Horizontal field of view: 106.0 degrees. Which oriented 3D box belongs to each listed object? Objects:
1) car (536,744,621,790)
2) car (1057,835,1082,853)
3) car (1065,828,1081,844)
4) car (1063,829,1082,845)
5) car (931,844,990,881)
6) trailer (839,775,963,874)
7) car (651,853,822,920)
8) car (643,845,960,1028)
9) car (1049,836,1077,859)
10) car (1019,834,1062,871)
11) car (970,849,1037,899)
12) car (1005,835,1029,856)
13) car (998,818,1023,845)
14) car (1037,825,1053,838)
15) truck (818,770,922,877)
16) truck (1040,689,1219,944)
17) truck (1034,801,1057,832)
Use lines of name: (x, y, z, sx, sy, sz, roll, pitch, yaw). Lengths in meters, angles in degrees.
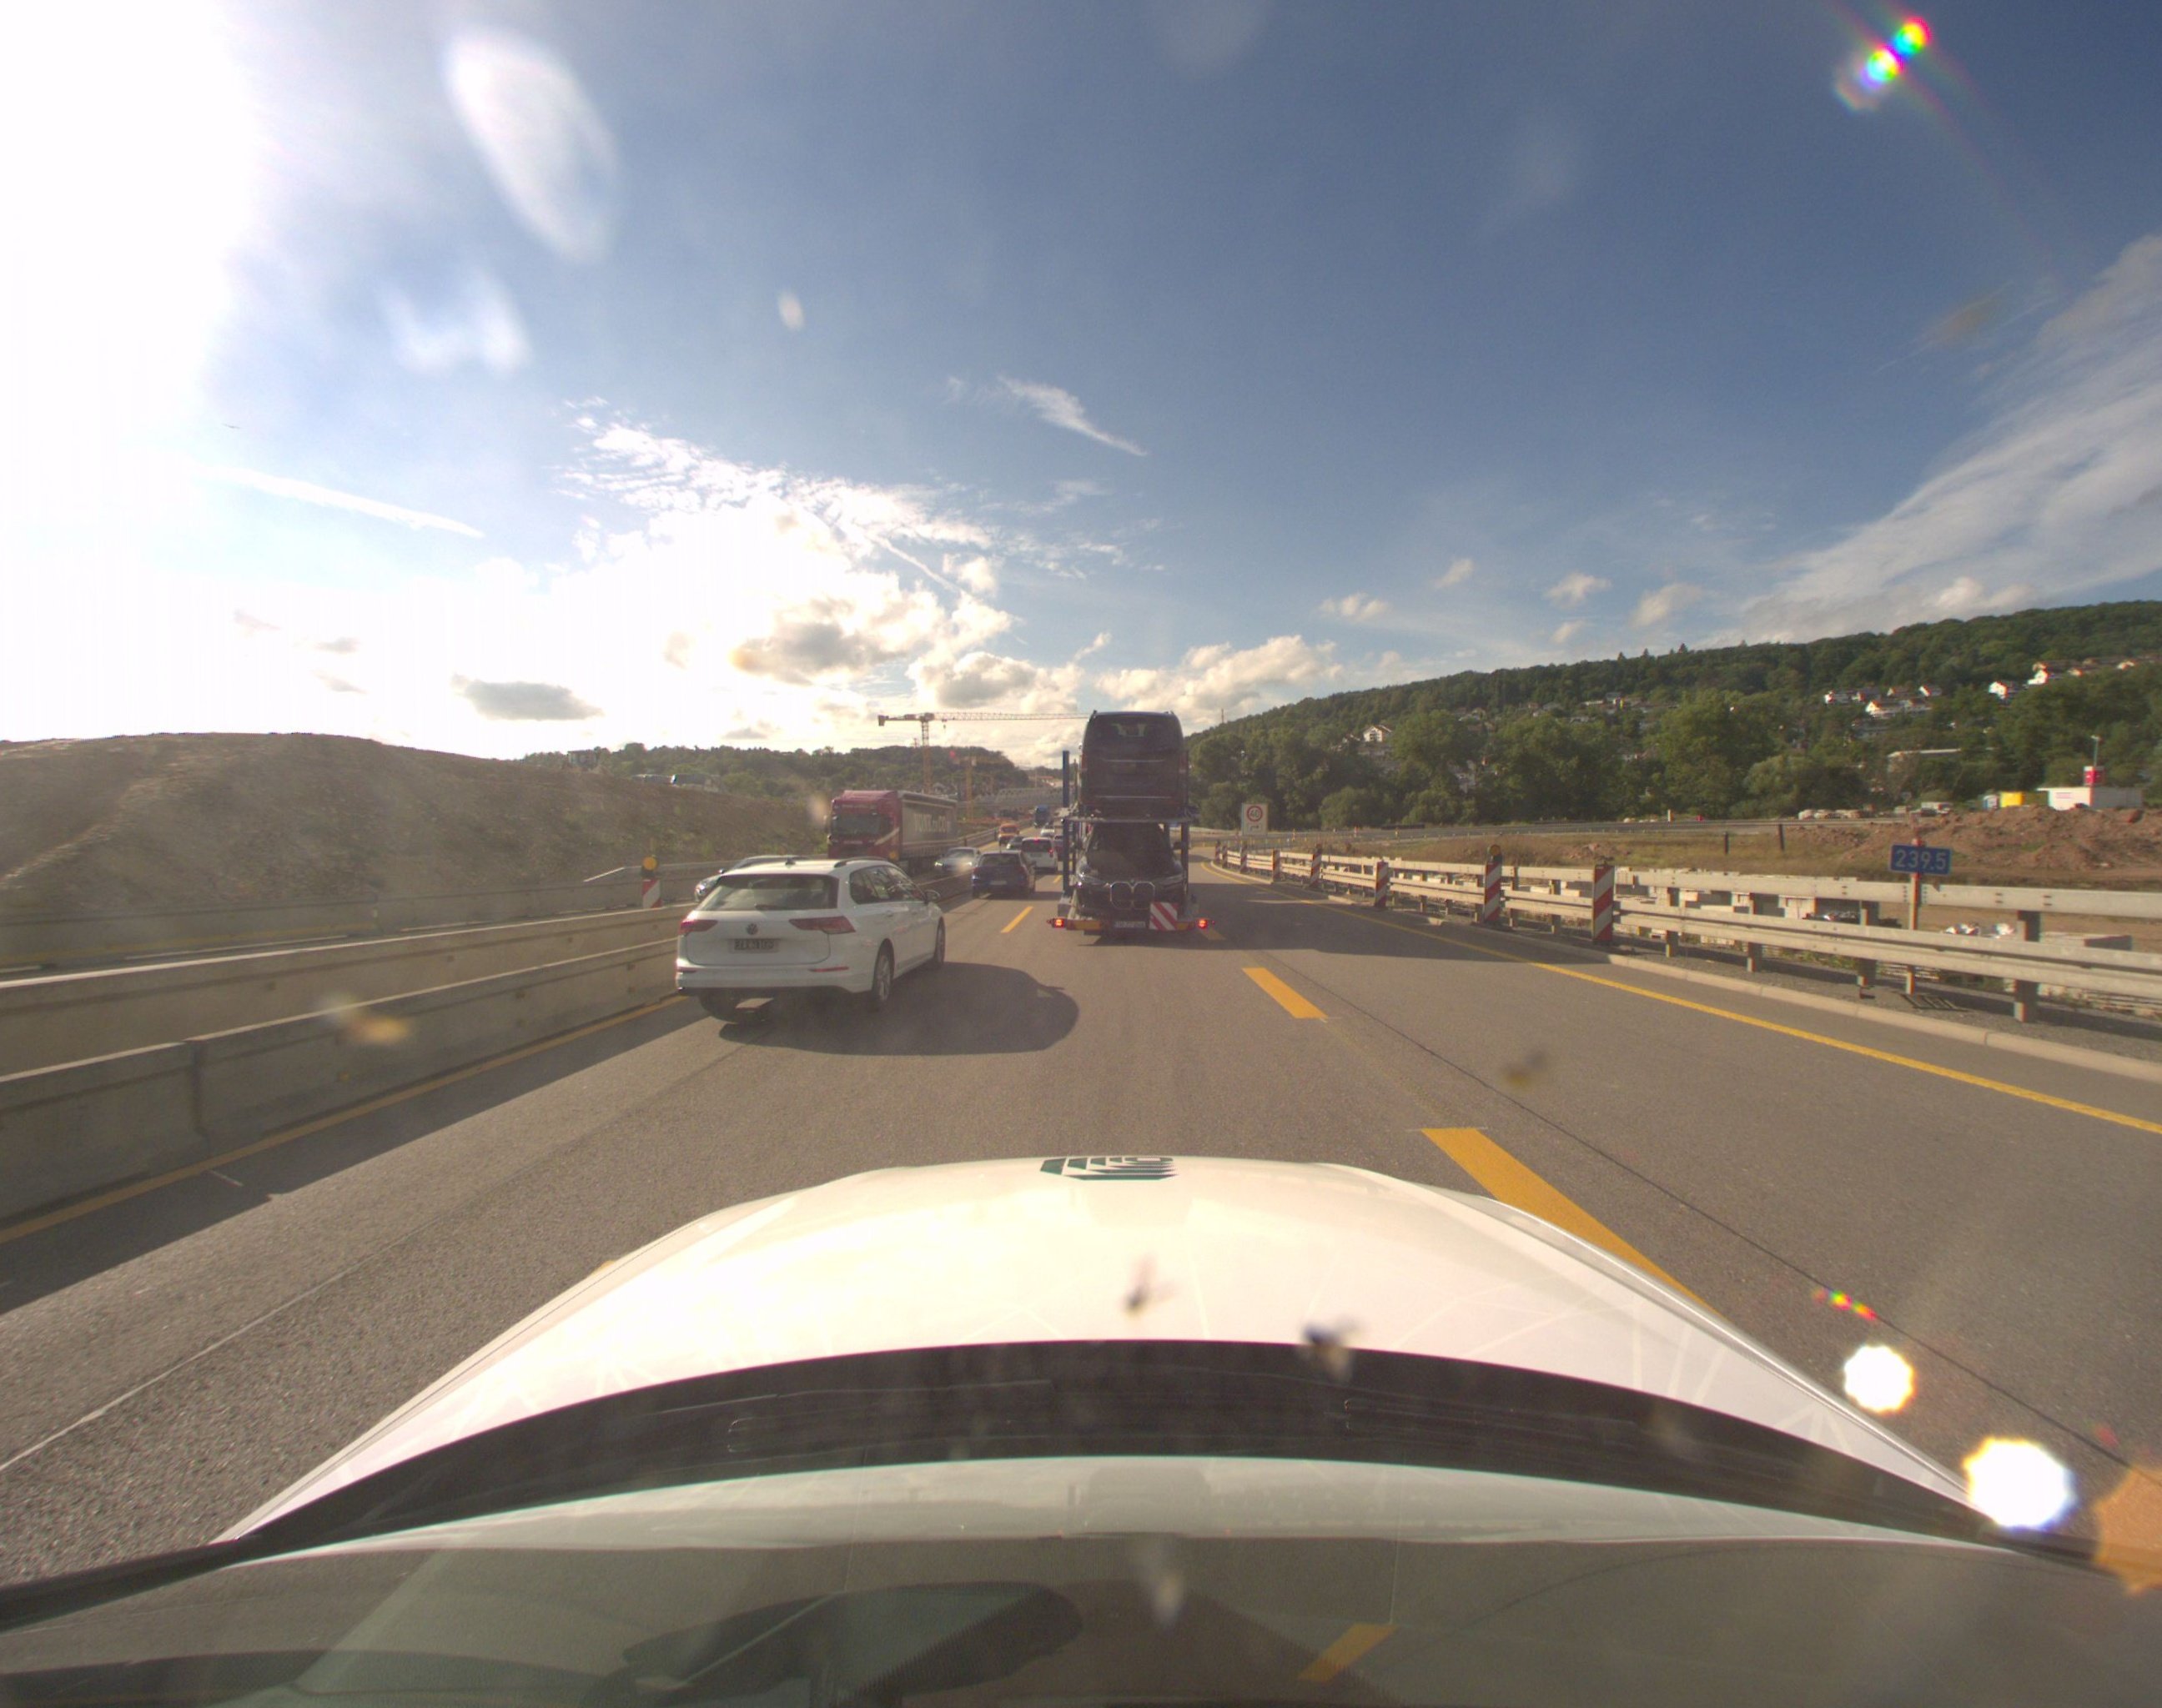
car: (-32.530, -5.594, 52.954, 1.986, 2.140, 5.322, -5, -1, 1)
car: (-0.976, -0.856, 72.480, 1.985, 1.552, 4.003, 0, 0, 3)
car: (-1.063, -2.500, 113.606, 1.986, 2.014, 4.002, 0, -1, 2)
car: (-0.904, -1.874, 90.898, 1.986, 1.666, 4.002, 0, 1, 2)
car: (-5.548, 0.363, 38.037, 1.837, 1.648, 4.508, 0, 0, 3)
trailer: (-9.095, -1.293, 43.498, 2.965, 4.423, 13.822, 1, 0, 2)
car: (-8.300, 0.713, 20.159, 1.811, 1.440, 4.623, 0, 0, 7)
car: (-2.640, 0.667, 8.965, 1.763, 1.491, 4.519, -1, 0, 2)
car: (-1.293, -0.438, 58.720, 1.988, 1.556, 4.398, 0, -1, -1)
car: (-2.026, -0.016, 41.688, 1.815, 1.792, 4.003, 0, -1, 3)
car: (-2.373, 0.561, 25.803, 1.716, 1.422, 3.999, -1, 1, 0)
car: (-5.340, -0.707, 68.432, 1.840, 1.648, 4.232, 0, 0, -3)
car: (-7.799, -2.473, 90.639, 1.985, 2.879, 6.069, 0, 1, 3)
car: (-4.836, -3.062, 110.528, 1.987, 1.684, 4.000, 0, 0, 0)
truck: (-9.349, -1.271, 36.938, 2.904, 4.387, 6.287, 1, 0, 1)
truck: (0.972, -0.734, 22.204, 2.743, 3.954, 18.895, 1, 1, 1)
truck: (-6.384, -6.742, 148.940, 2.810, 4.789, 13.065, 0, -1, 4)
